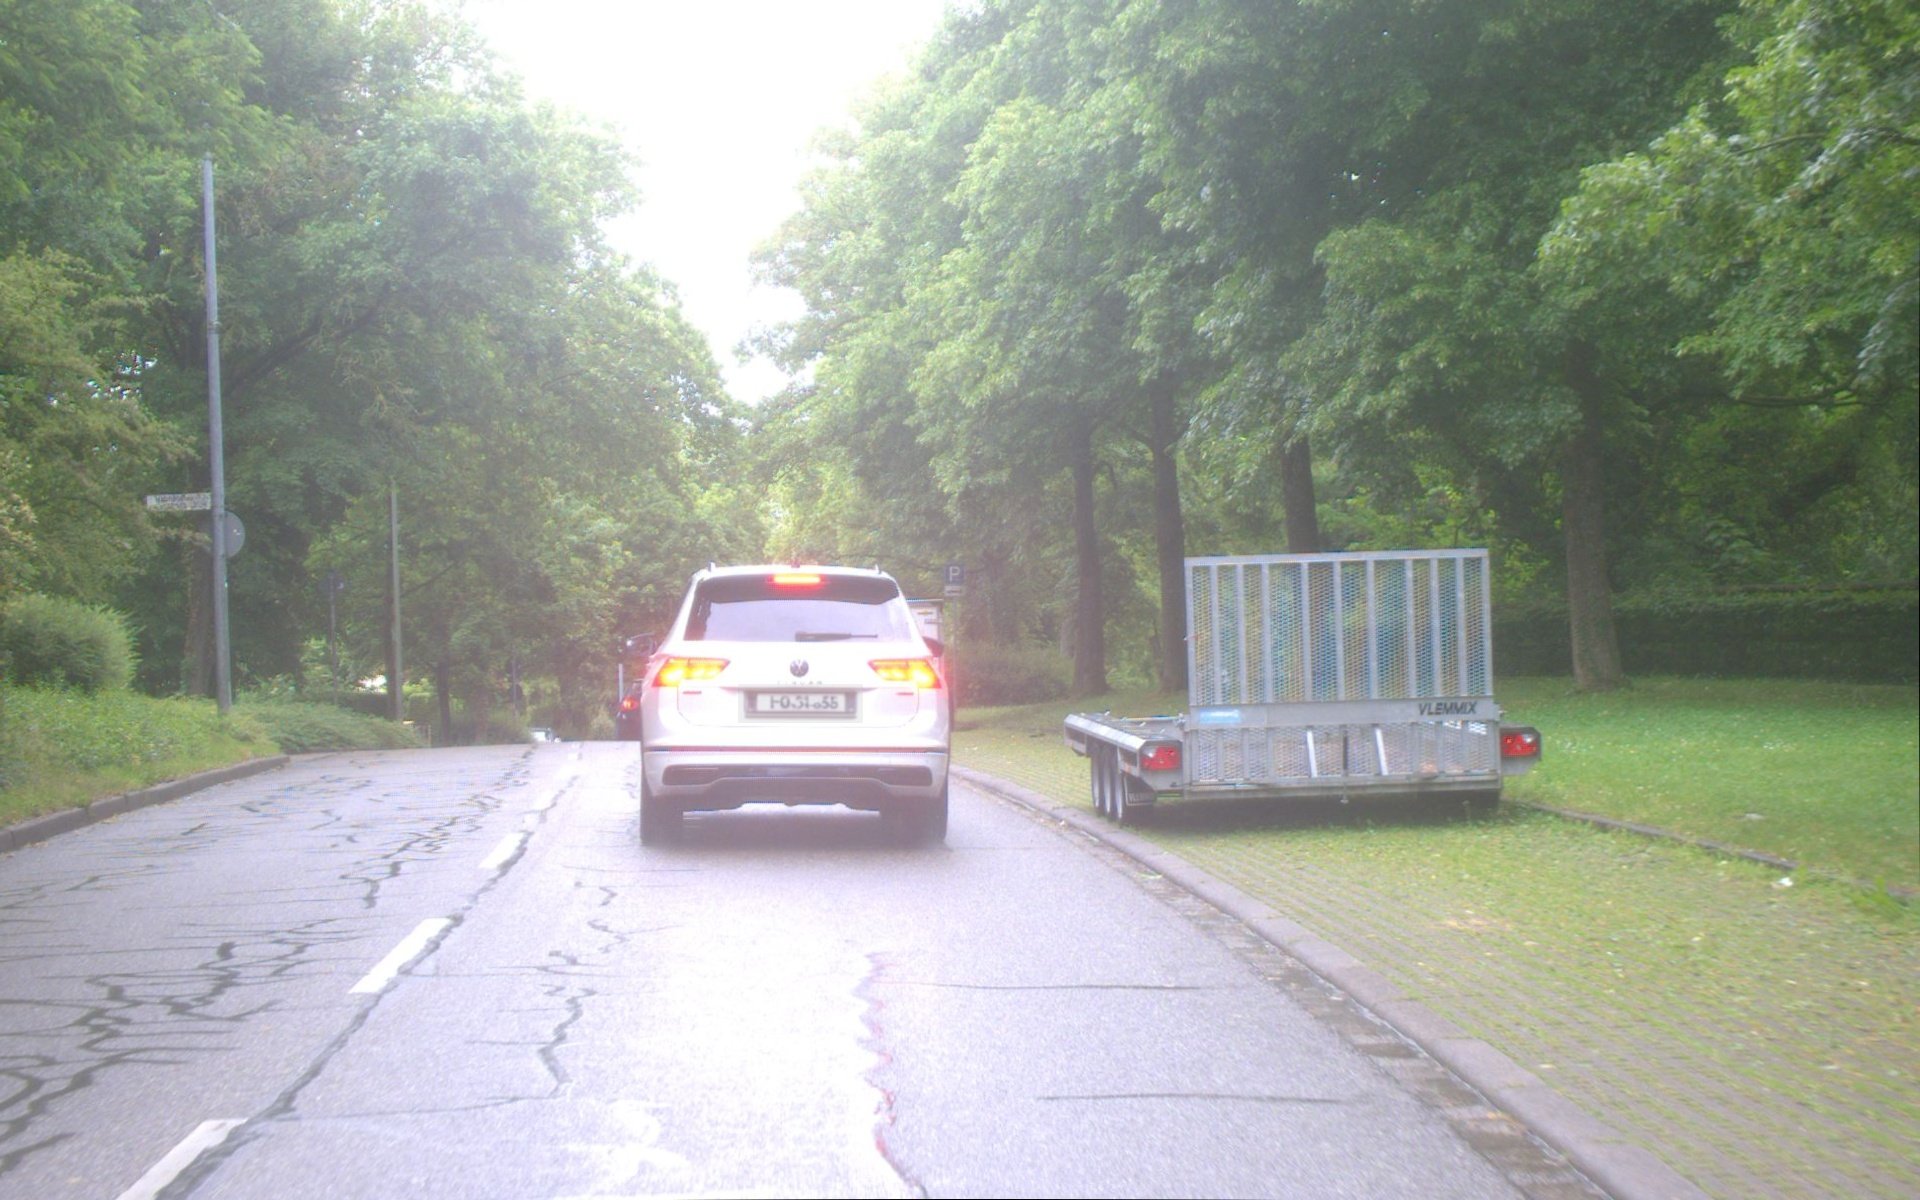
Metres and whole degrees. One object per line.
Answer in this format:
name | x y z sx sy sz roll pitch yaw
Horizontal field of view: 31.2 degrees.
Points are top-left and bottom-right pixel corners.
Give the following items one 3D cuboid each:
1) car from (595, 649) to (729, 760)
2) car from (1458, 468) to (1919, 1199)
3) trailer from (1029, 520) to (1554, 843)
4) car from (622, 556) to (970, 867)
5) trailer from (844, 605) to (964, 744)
car | -6.163 2.148 71.490 1.994 2.006 4.000 0 2 7
car | 2.883 0.572 5.420 1.607 1.675 4.005 -2 0 -42
trailer | 1.988 0.519 22.893 2.449 1.807 5.892 -2 -1 -4
car | -1.039 0.627 21.467 1.905 1.679 4.201 -2 0 -3
trailer | -0.928 1.210 54.606 1.529 2.069 4.000 -2 -2 -5
